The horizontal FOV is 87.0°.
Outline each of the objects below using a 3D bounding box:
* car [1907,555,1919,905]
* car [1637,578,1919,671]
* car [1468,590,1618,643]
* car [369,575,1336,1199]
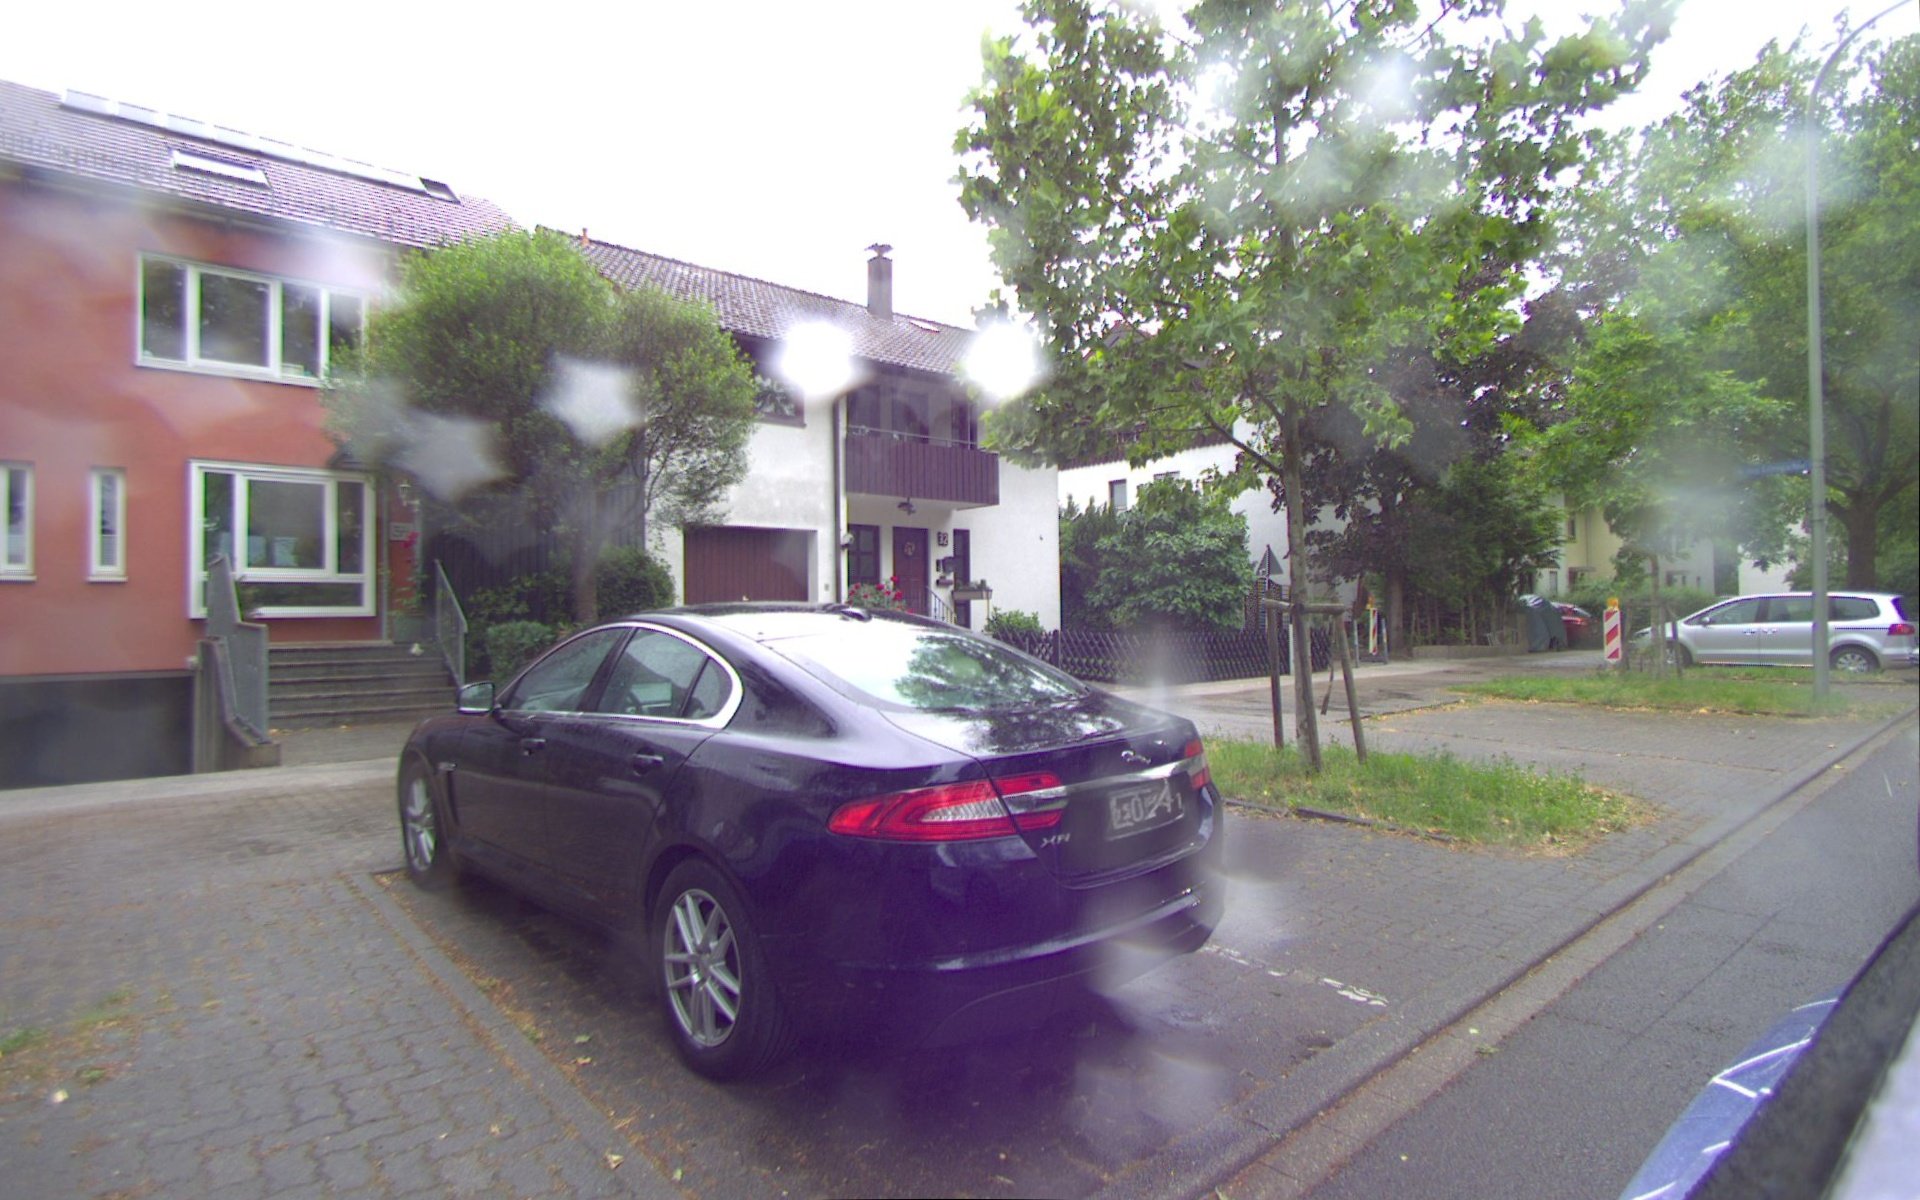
[{"bbox_3d":[6.724,0.612,5.490,4.346,1.638,1.861,0,0,-41],"label":"car"},{"bbox_3d":[16.713,0.448,20.486,1.942,1.682,4.694,0,0,-42],"label":"car"},{"bbox_3d":[18.998,0.501,33.100,1.809,1.633,3.853,0,0,-39],"label":"car"},{"bbox_3d":[-0.985,0.686,4.658,1.906,1.491,4.768,0,0,-44],"label":"car"}]
